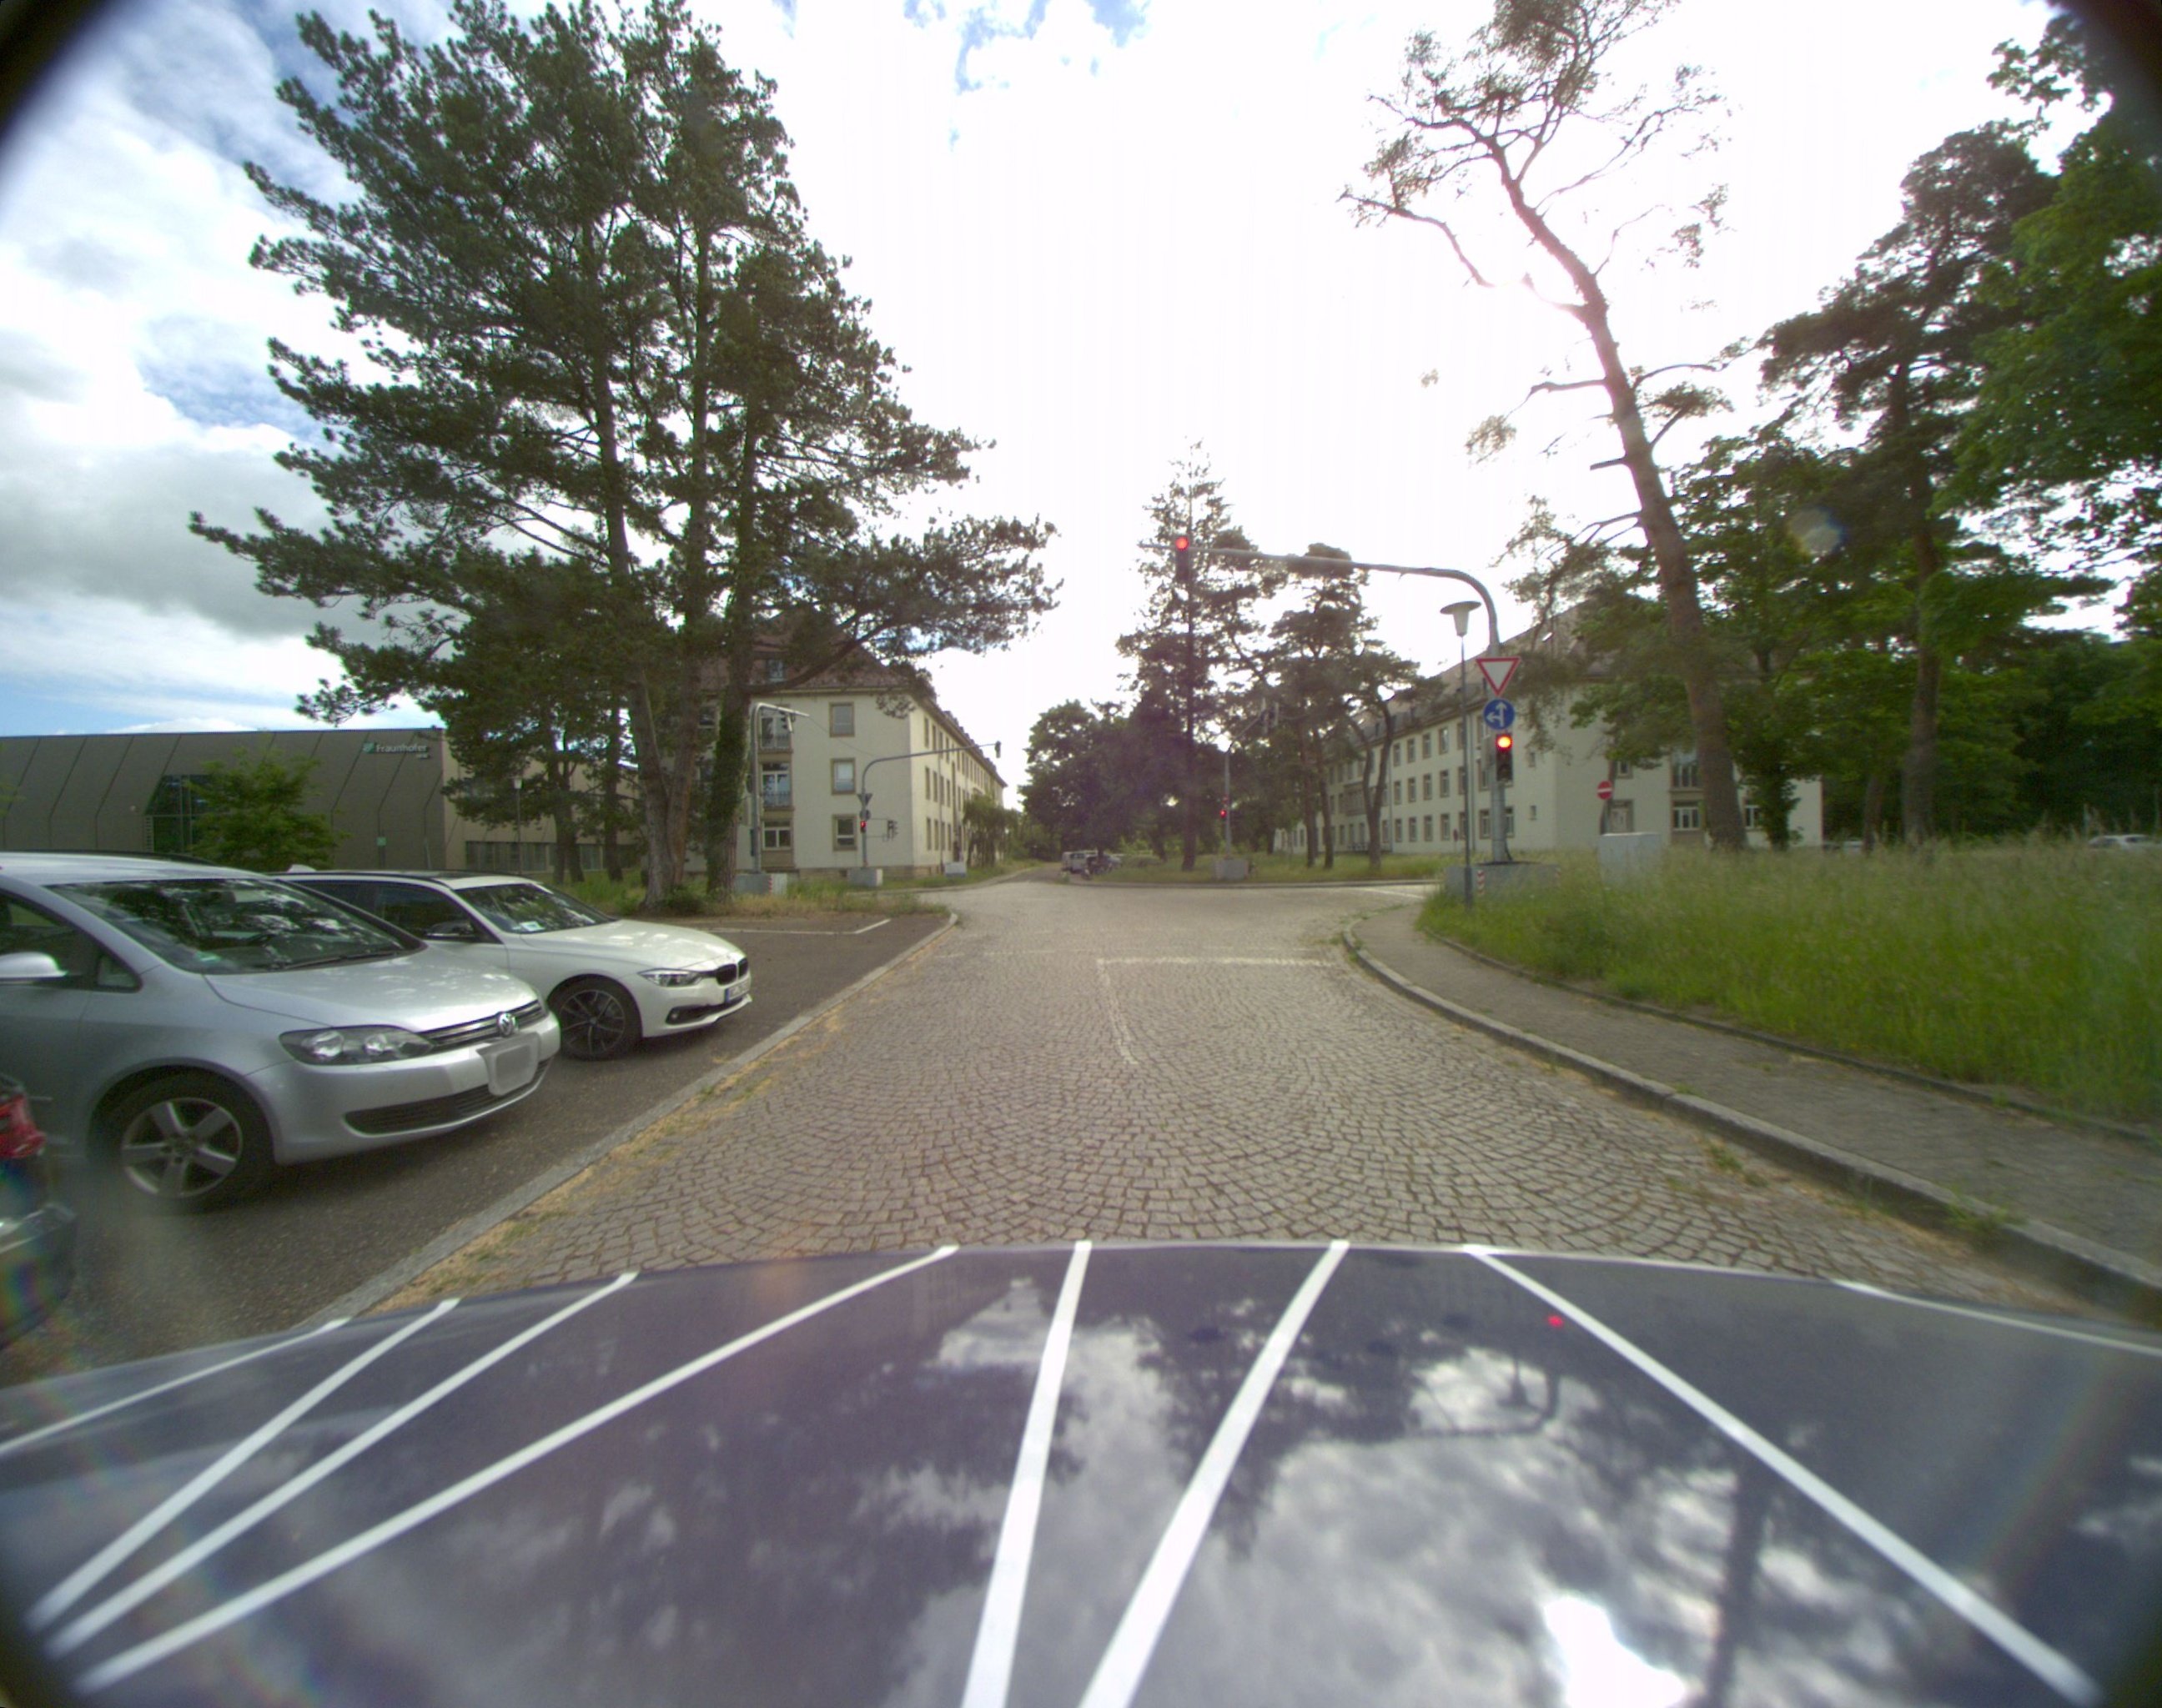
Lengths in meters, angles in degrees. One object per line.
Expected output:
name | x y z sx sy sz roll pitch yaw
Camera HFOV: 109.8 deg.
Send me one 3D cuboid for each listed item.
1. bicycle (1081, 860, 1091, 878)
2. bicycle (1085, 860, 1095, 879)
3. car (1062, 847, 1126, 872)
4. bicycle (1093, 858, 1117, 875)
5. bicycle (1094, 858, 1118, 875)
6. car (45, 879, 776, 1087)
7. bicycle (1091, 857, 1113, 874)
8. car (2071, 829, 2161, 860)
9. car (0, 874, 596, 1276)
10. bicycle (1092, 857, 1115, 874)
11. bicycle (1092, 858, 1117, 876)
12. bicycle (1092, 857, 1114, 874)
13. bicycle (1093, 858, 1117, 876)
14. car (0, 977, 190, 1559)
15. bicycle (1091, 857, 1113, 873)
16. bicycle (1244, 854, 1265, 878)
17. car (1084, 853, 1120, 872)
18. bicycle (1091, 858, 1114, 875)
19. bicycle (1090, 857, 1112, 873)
bicycle | 0.317 0.902 46.914 0.497 1.033 1.416 -4 1 -1
bicycle | 0.527 0.910 45.312 0.497 1.068 1.416 -4 1 -1
car | 1.098 0.460 66.422 5.173 1.906 2.033 -3 0 -14
bicycle | 1.613 0.825 50.739 1.457 1.033 0.497 -4 1 -6
bicycle | 1.650 0.835 50.155 1.457 1.033 0.497 -4 1 -6
car | -5.294 1.014 6.578 4.563 1.417 1.826 1 1 -4
bicycle | 1.492 0.801 53.511 1.457 1.033 0.497 -4 1 -6
car | 58.506 -0.550 42.407 4.054 1.601 1.716 -2 2 3
car | -5.351 0.952 3.992 4.342 1.565 1.826 1 1 -6
bicycle | 1.533 0.806 51.428 1.457 1.033 0.497 -4 1 -6
bicycle | 1.485 0.832 48.322 1.457 1.033 0.497 -4 1 -8
bicycle | 1.540 0.810 53.022 1.457 1.033 0.497 -4 1 -6
bicycle | 1.536 0.839 49.119 1.457 1.033 0.497 -4 1 -6
car | -4.874 1.018 1.319 4.378 1.397 1.796 1 0 -2
bicycle | 1.489 0.808 54.560 1.457 1.033 0.497 -4 1 -6
bicycle | 8.229 0.566 36.104 0.497 1.068 1.416 -4 1 -4
car | 1.721 0.688 63.096 2.771 1.407 1.592 -4 0 -2
bicycle | 1.495 0.832 51.897 1.457 1.033 0.497 -4 1 -6
bicycle | 1.427 0.811 55.034 1.457 1.033 0.497 -4 1 -6
